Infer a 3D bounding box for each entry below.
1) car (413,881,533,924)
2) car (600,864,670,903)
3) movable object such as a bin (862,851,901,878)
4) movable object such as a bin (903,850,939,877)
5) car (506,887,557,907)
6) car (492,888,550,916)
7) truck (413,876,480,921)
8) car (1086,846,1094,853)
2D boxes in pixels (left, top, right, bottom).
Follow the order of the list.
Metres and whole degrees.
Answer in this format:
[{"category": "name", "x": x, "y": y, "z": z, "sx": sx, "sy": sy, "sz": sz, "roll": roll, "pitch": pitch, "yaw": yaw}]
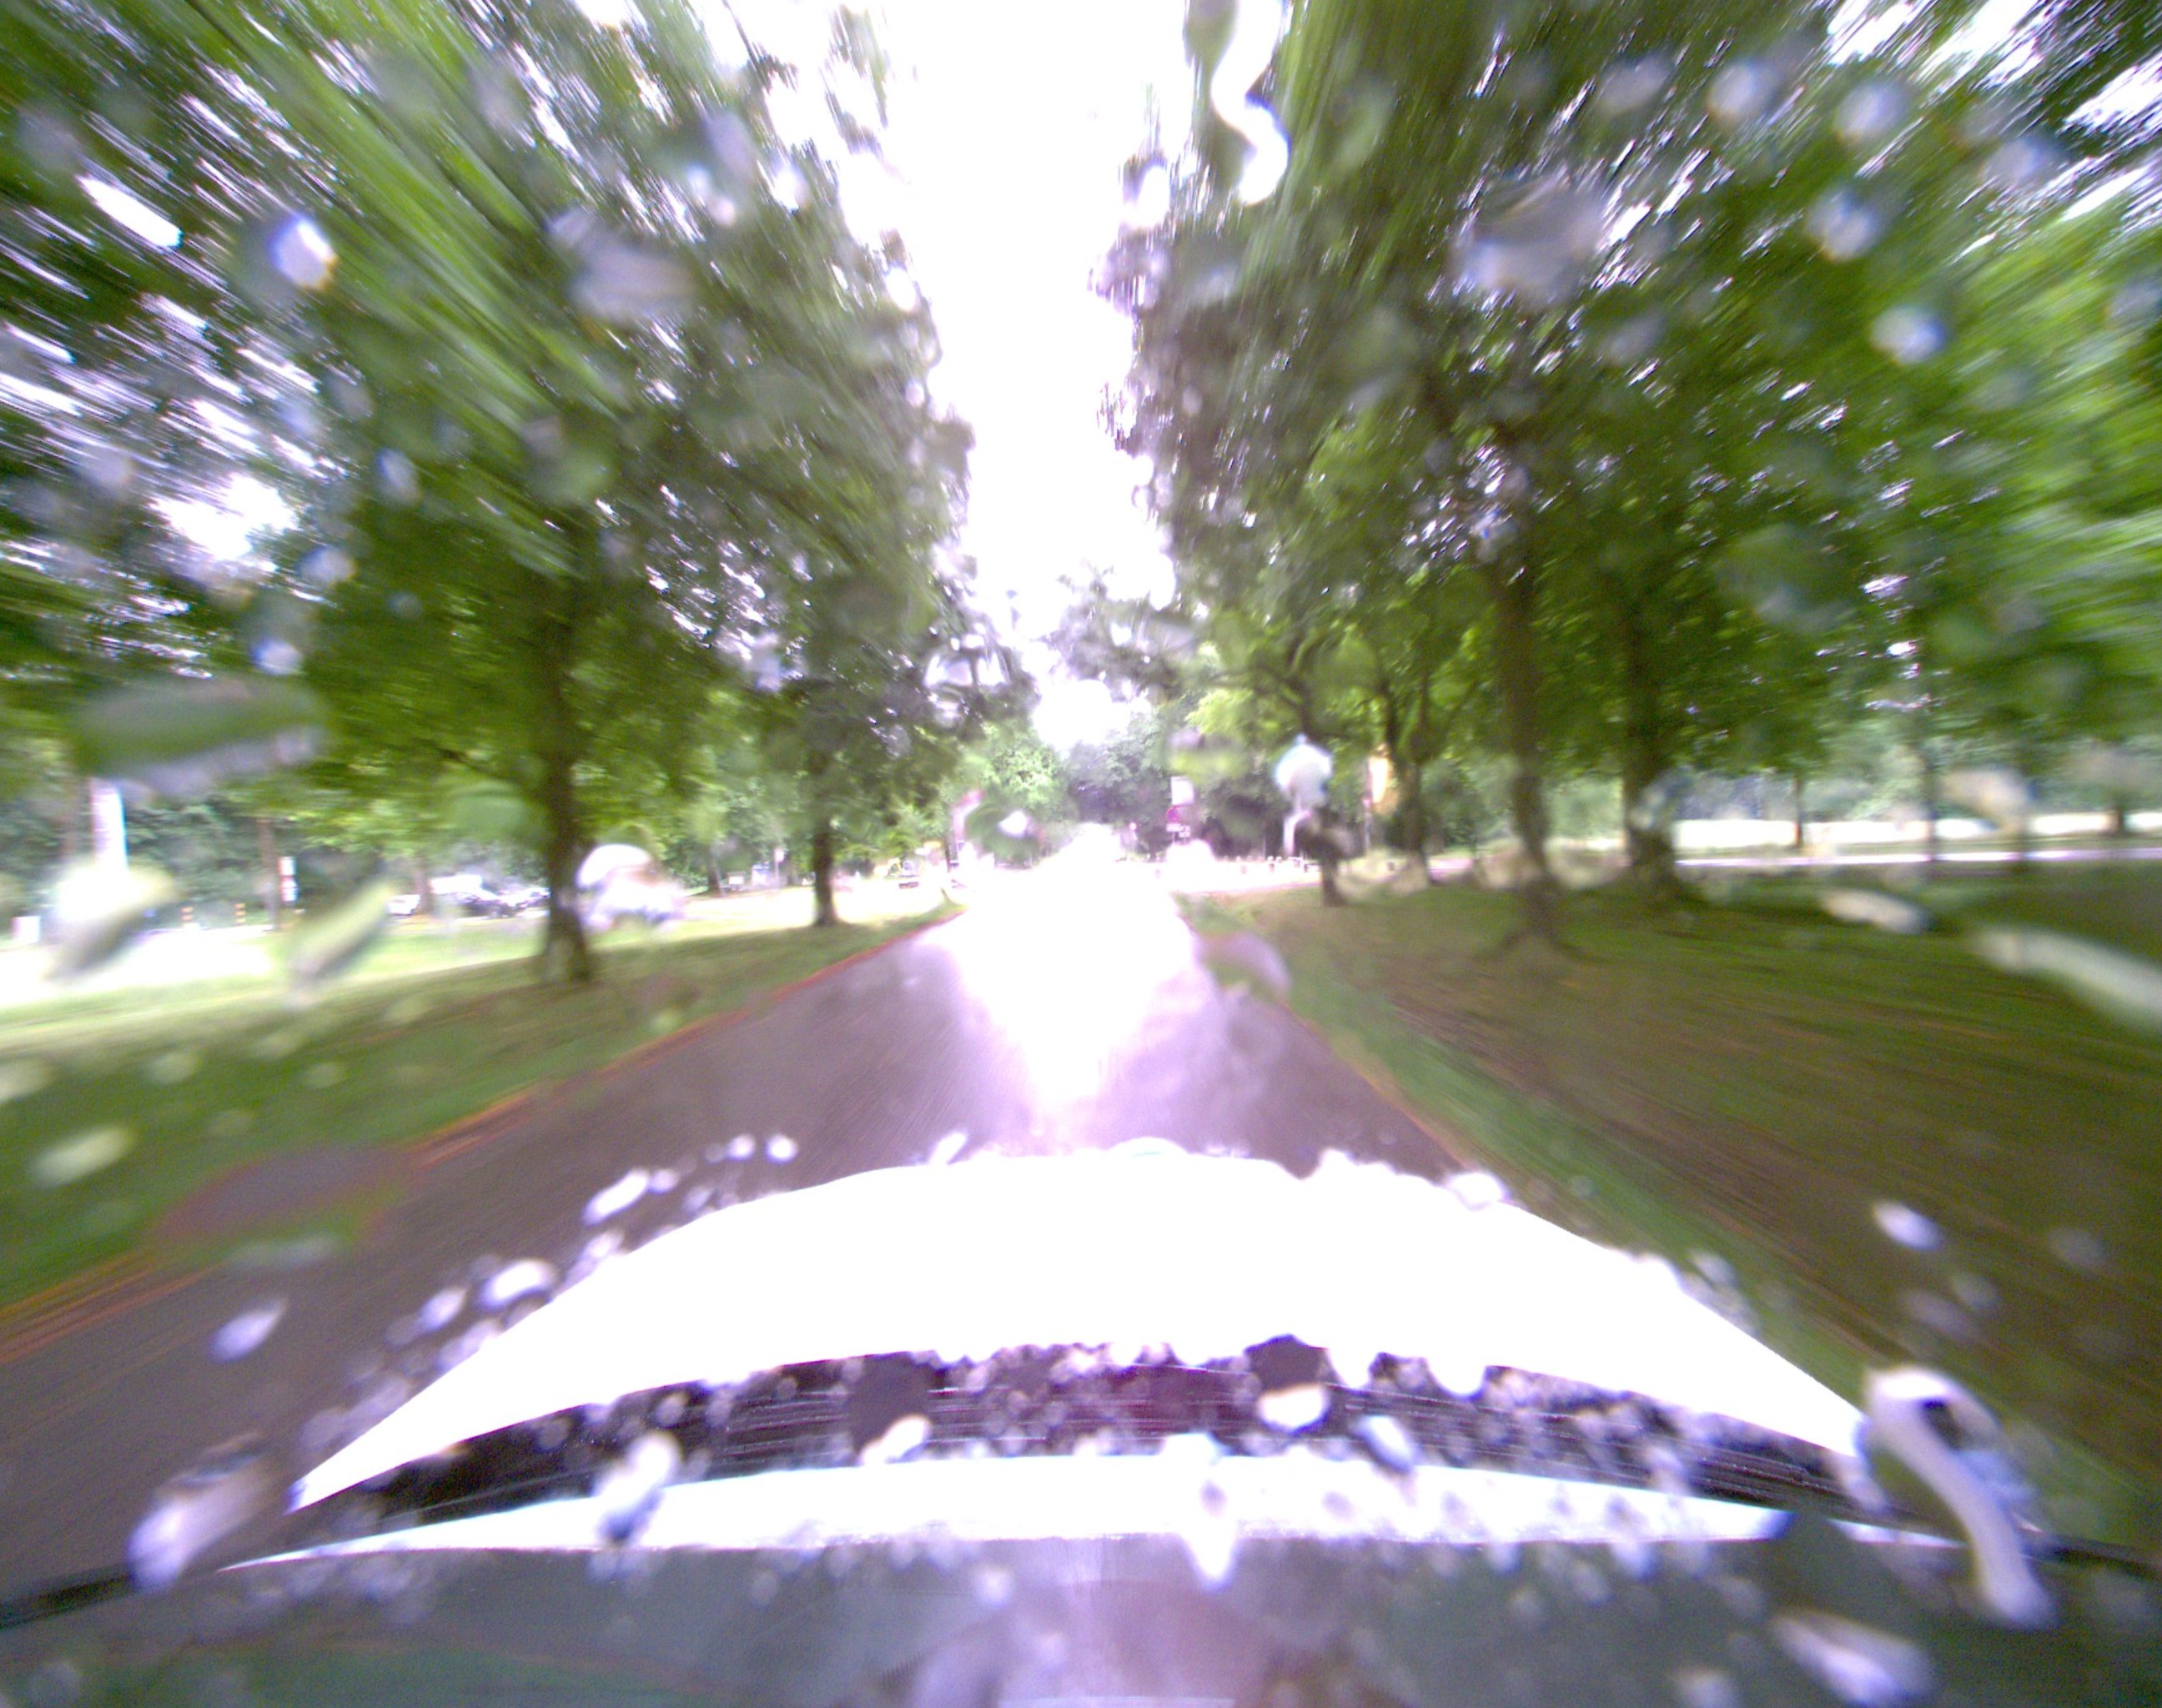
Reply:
[{"category": "car", "x": -31.532, "y": 2.482, "z": 42.385, "sx": 4.566, "sy": 1.708, "sz": 1.724, "roll": -5, "pitch": 1, "yaw": -13}, {"category": "car", "x": -30.775, "y": 2.055, "z": 56.067, "sx": 5.907, "sy": 2.407, "sz": 2.407, "roll": -4, "pitch": -2, "yaw": 43}, {"category": "movable object such as a bin", "x": -26.972, "y": 1.372, "z": 110.291, "sx": 4.655, "sy": 3.294, "sz": 3.900, "roll": -3, "pitch": 0, "yaw": -10}, {"category": "movable object such as a bin", "x": -21.932, "y": 1.265, "z": 111.863, "sx": 4.582, "sy": 3.294, "sz": 3.654, "roll": -3, "pitch": 0, "yaw": -10}, {"category": "car", "x": -52.165, "y": 4.104, "z": 77.369, "sx": 3.953, "sy": 1.585, "sz": 2.010, "roll": -3, "pitch": 0, "yaw": 20}, {"category": "car", "x": -35.398, "y": 3.004, "z": 51.575, "sx": 1.767, "sy": 1.429, "sz": 4.083, "roll": -3, "pitch": 0, "yaw": -17}, {"category": "truck", "x": -38.876, "y": 2.693, "z": 50.010, "sx": 1.872, "sy": 2.442, "sz": 3.334, "roll": -3, "pitch": 0, "yaw": -13}, {"category": "car", "x": 2.672, "y": -1.368, "z": 240.977, "sx": 1.986, "sy": 1.717, "sz": 4.001, "roll": -3, "pitch": 0, "yaw": 1}]
